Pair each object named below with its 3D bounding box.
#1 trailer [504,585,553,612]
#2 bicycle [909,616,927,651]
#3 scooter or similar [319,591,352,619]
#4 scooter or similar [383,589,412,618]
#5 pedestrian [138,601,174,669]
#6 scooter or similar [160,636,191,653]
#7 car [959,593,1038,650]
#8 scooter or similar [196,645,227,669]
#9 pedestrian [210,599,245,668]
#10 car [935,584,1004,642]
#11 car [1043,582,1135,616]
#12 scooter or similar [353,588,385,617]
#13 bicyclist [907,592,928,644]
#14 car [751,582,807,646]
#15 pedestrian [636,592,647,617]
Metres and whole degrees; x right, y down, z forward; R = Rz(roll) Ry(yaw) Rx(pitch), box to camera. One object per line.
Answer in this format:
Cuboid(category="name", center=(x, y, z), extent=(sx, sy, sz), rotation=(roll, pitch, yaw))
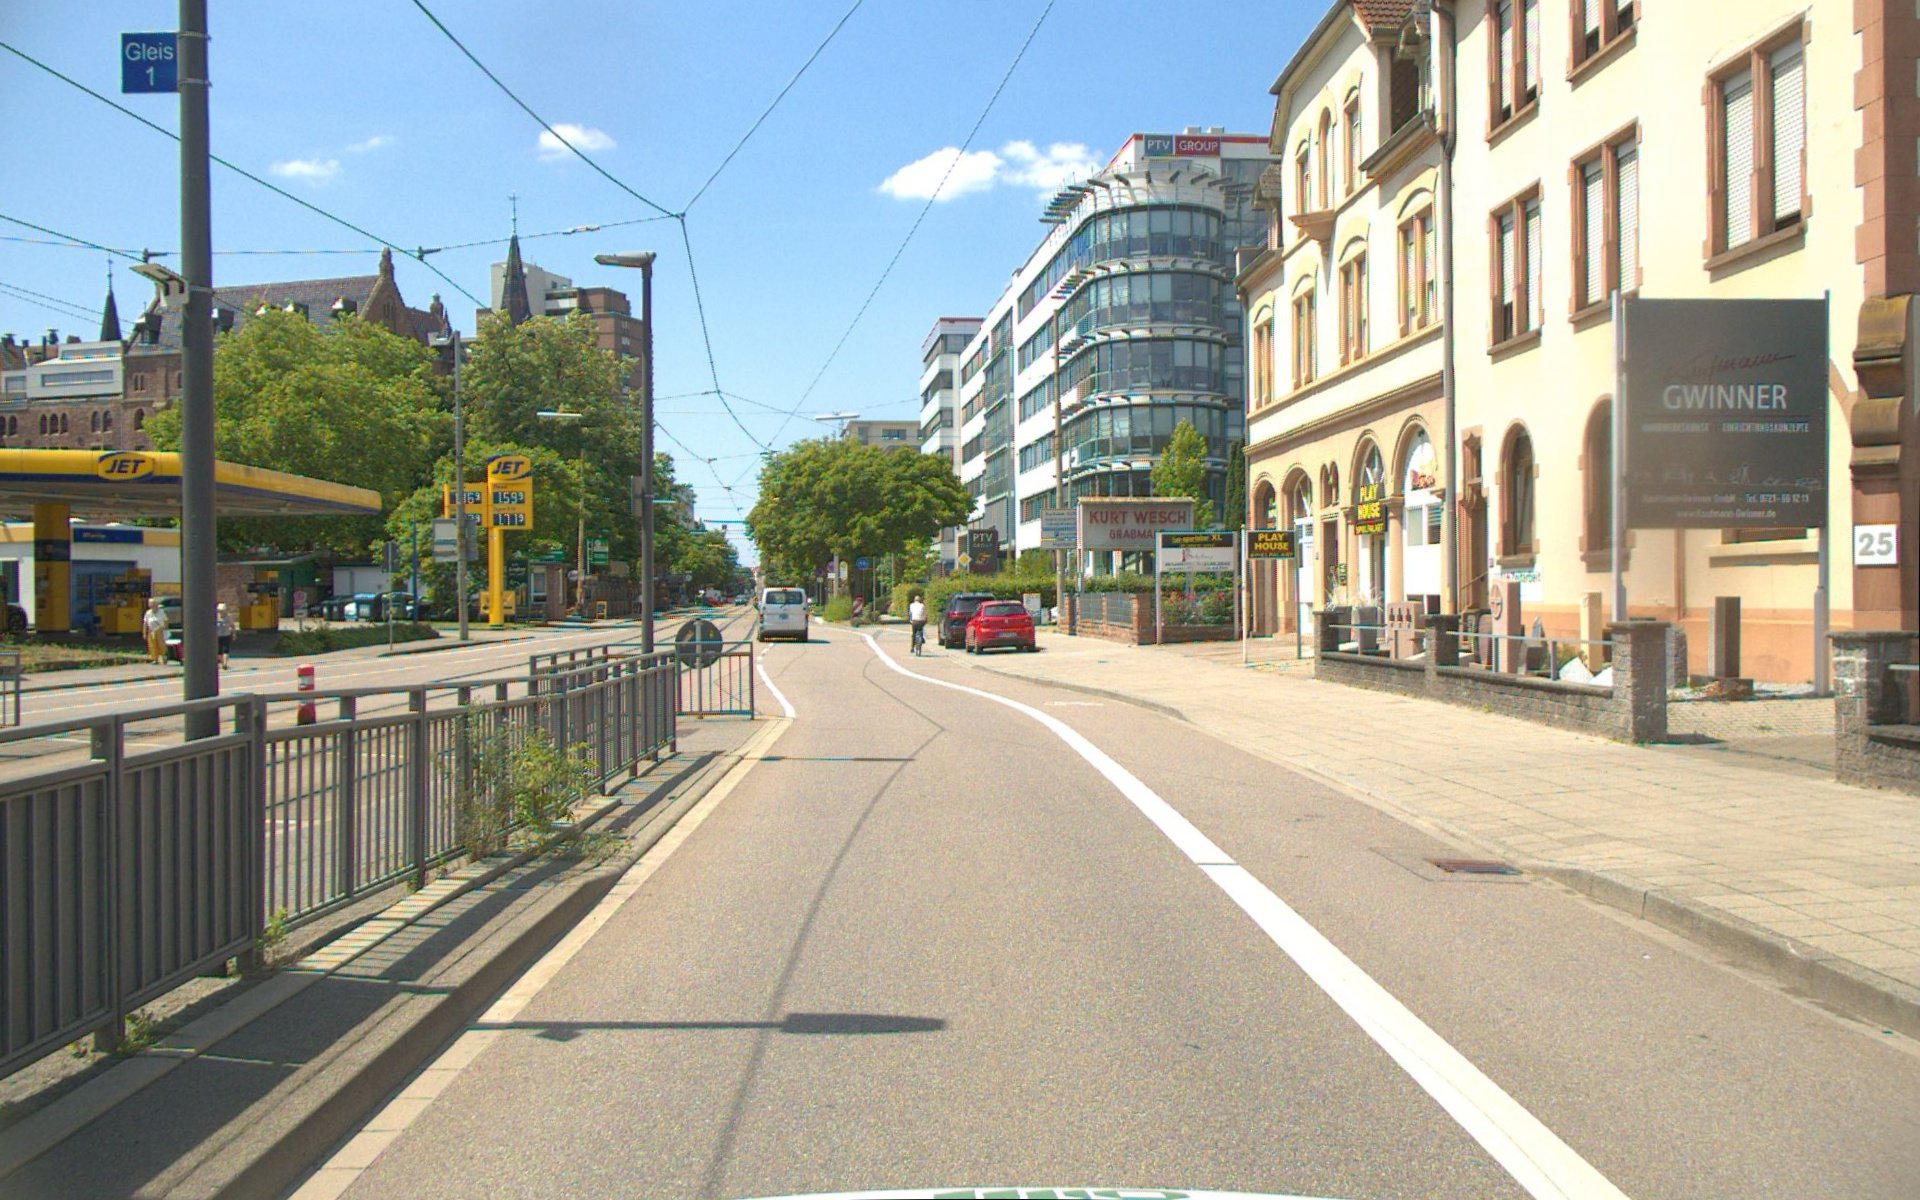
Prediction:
Cuboid(category="trailer", center=(-25.623, -0.070, 98.244), extent=(2.675, 1.553, 1.328), rotation=(0, -1, -6))
Cuboid(category="bicycle", center=(-1.177, 0.914, 46.139), extent=(0.456, 0.903, 2.047), rotation=(0, 1, -2))
Cuboid(category="scooter or similar", center=(-33.053, 0.257, 87.568), extent=(1.286, 1.492, 1.060), rotation=(-1, 0, 5))
Cuboid(category="scooter or similar", center=(-29.429, 0.164, 86.532), extent=(1.149, 1.492, 1.059), rotation=(-1, 0, -2))
Cuboid(category="pedestrian", center=(-20.076, 0.868, 41.294), extent=(0.541, 1.687, 0.672), rotation=(0, 0, 0))
Cuboid(category="scooter or similar", center=(-19.937, 1.124, 42.021), extent=(0.463, 0.401, 0.672), rotation=(0, 0, 1))
Cuboid(category="car", center=(1.053, 0.575, 47.416), extent=(1.679, 1.478, 4.067), rotation=(-3, 1, -6))
Cuboid(category="scooter or similar", center=(-18.880, 1.441, 41.743), extent=(0.466, 0.591, 0.631), rotation=(0, 0, 4))
Cuboid(category="pedestrian", center=(-18.277, 0.840, 41.282), extent=(0.568, 1.700, 0.667), rotation=(0, 0, 1))
Cuboid(category="car", center=(0.267, 0.375, 53.436), extent=(1.826, 1.716, 4.996), rotation=(-2, 1, -4))
Cuboid(category="car", center=(5.557, -0.044, 71.640), extent=(3.726, 1.297, 1.554), rotation=(-2, 1, -6))
Cuboid(category="scooter or similar", center=(-31.048, 0.111, 86.904), extent=(1.286, 1.492, 1.059), rotation=(-1, 0, 5))
Cuboid(category="bicyclist", center=(-1.187, 0.492, 46.111), extent=(0.579, 1.421, 0.841), rotation=(0, 0, -2))
Cuboid(category="car", center=(-6.350, 0.455, 57.804), extent=(1.720, 2.048, 3.992), rotation=(-2, 1, -9))
Cuboid(category="pedestrian", center=(-27.268, 0.401, 141.522), extent=(0.848, 2.049, 0.645), rotation=(-2, -1, -10))
